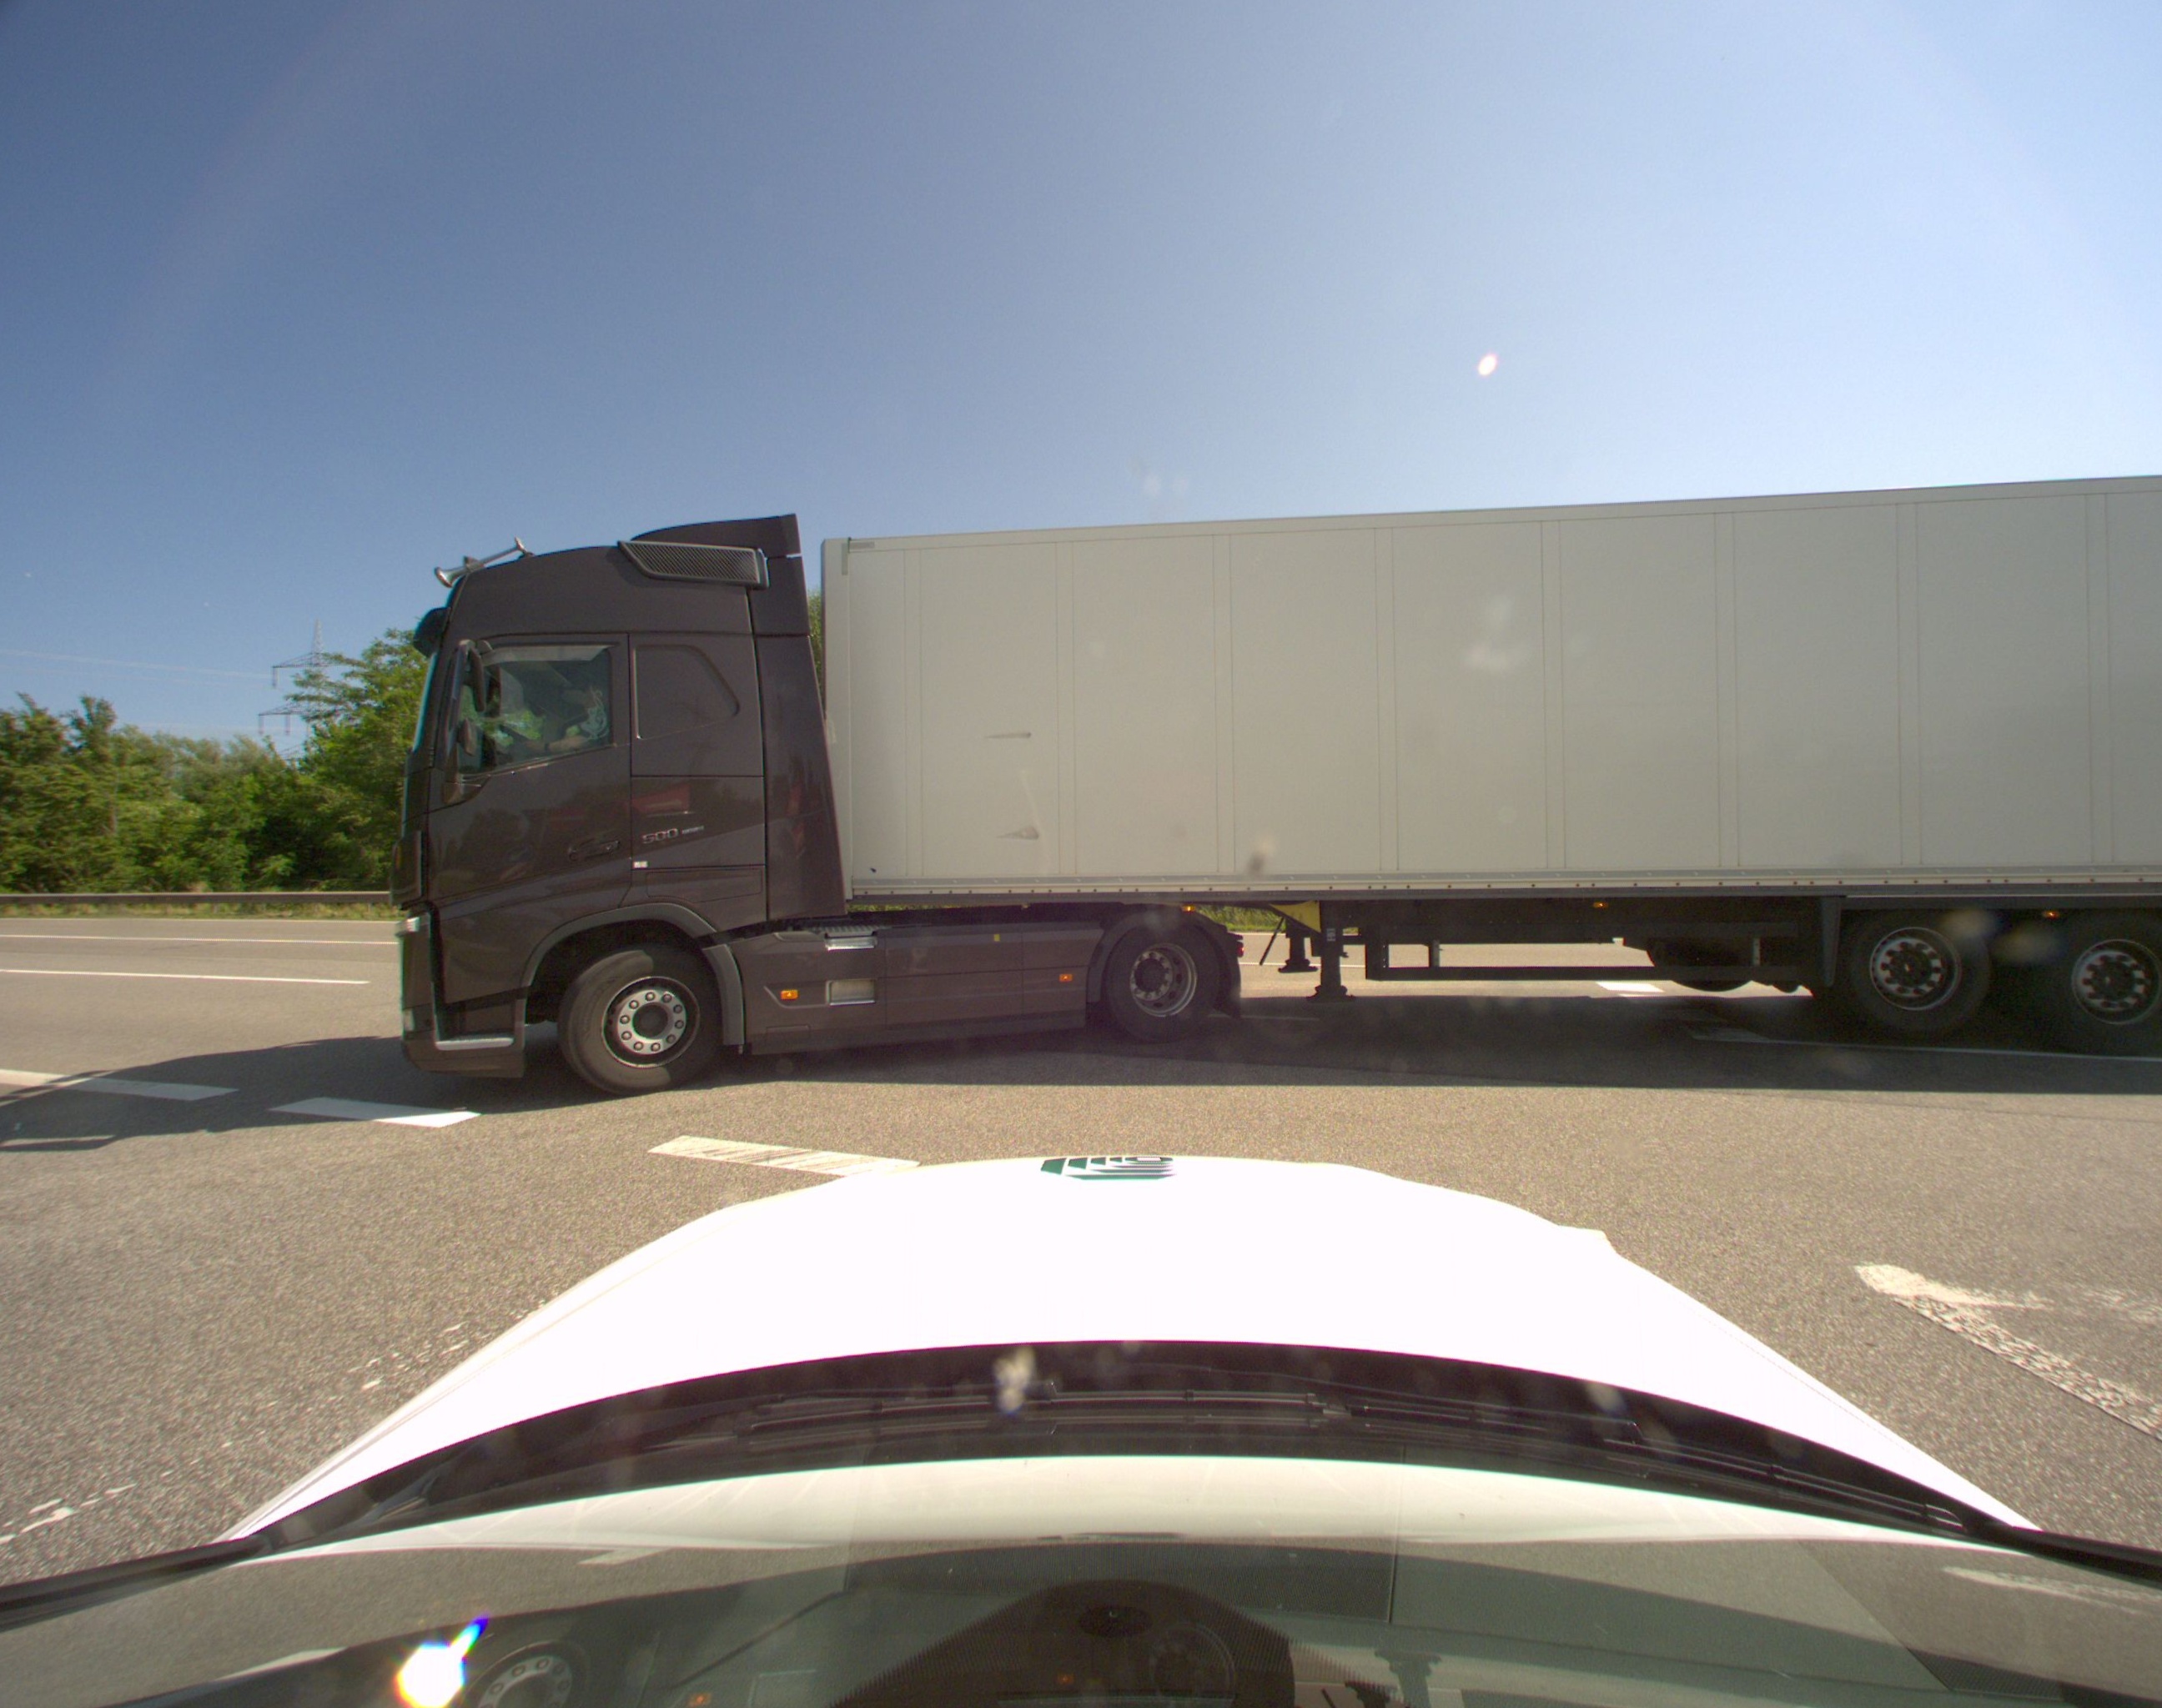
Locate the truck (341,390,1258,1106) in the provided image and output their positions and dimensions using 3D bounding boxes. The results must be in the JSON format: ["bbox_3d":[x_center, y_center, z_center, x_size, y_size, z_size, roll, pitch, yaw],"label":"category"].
[{"bbox_3d":[-1.852,-0.634,7.002,5.965,4.173,2.863,0,-1,-17],"label":"truck"}]

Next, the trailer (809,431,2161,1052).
[{"bbox_3d":[4.978,-0.725,7.139,13.865,4.165,2.901,-1,0,5],"label":"trailer"}]
